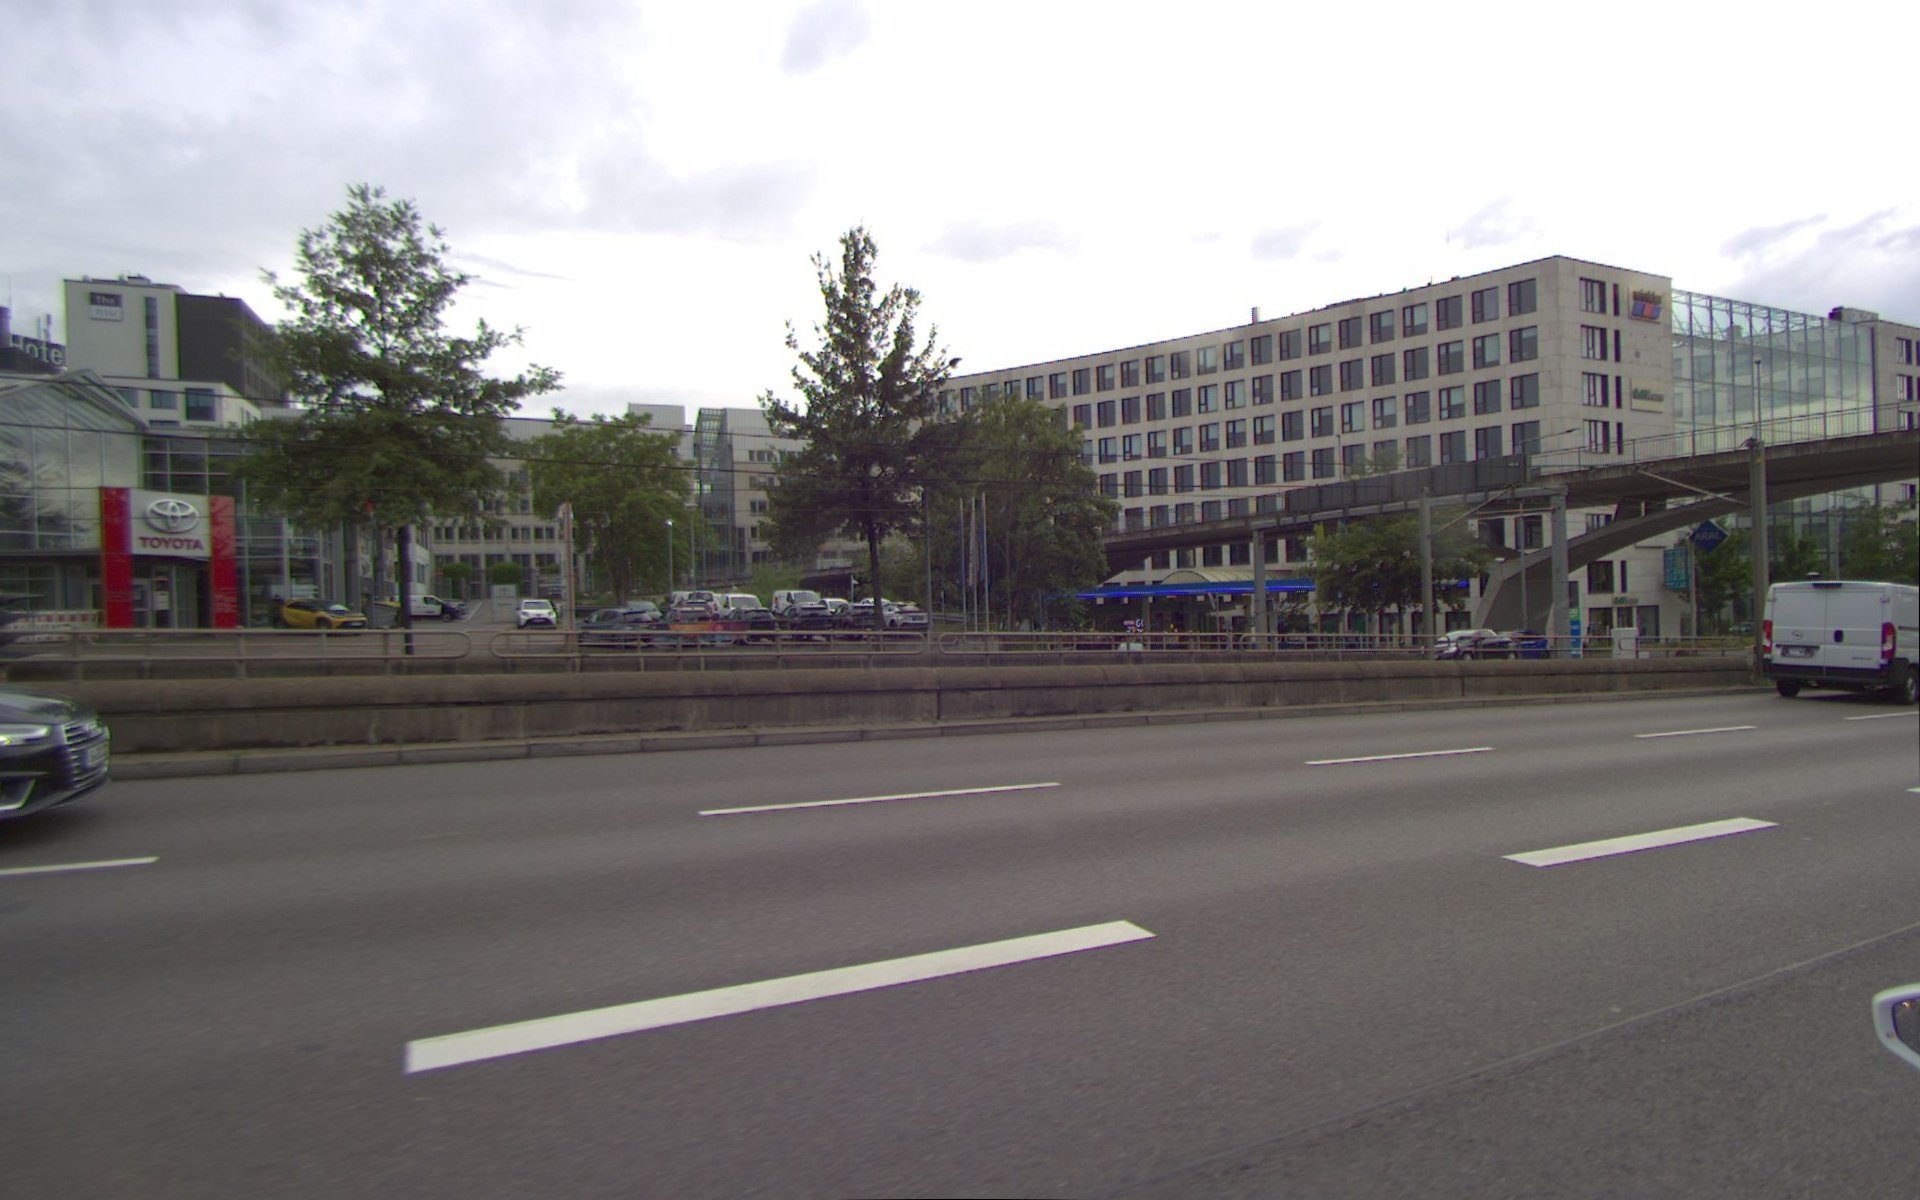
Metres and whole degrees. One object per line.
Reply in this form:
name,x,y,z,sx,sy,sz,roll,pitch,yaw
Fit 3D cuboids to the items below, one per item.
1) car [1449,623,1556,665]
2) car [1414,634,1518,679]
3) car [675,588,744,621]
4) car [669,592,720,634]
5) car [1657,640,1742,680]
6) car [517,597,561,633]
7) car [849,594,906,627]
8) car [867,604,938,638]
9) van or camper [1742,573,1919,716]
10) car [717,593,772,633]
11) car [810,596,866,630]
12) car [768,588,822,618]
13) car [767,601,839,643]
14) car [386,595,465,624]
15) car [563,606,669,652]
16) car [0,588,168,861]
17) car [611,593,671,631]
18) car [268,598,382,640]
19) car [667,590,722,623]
car,23.031,1.854,42.640,4.194,1.658,1.986,1,-1,-28
car,17.350,1.909,34.434,3.435,1.439,1.511,0,-1,-29
car,-16.514,0.313,66.231,3.924,2.076,1.998,0,2,24
car,-13.499,0.671,50.902,1.972,2.040,3.978,1,-1,-23
car,39.232,3.162,53.274,4.193,1.759,1.986,-2,2,-28
car,-21.552,0.733,51.432,1.971,1.673,3.977,-2,2,-23
car,-4.629,0.537,55.922,1.971,1.673,3.977,-2,2,-23
car,-2.663,0.917,45.693,1.825,1.372,3.973,1,1,-26
van or camper,18.372,0.736,20.173,5.461,2.472,2.194,-2,2,-28
car,-11.036,0.621,51.268,1.971,1.901,3.977,-2,2,-23
car,-6.654,0.664,54.365,1.971,1.673,3.977,-2,2,-23
car,-9.833,0.140,59.716,1.800,1.673,3.966,-2,2,-31
car,-6.812,0.906,43.328,1.974,1.673,3.973,1,1,-26
car,-37.281,0.648,70.230,4.658,1.865,1.756,-2,2,-22
car,-13.744,1.112,40.129,3.931,1.673,1.995,1,1,32
car,-7.243,0.622,5.252,4.573,1.438,1.802,1,0,-28
car,-15.731,0.554,49.459,1.976,1.673,3.968,-2,2,-30
car,-27.095,0.780,42.904,3.920,1.673,2.000,0,2,17
car,-14.812,0.317,55.942,1.976,1.673,3.968,-2,2,-30
